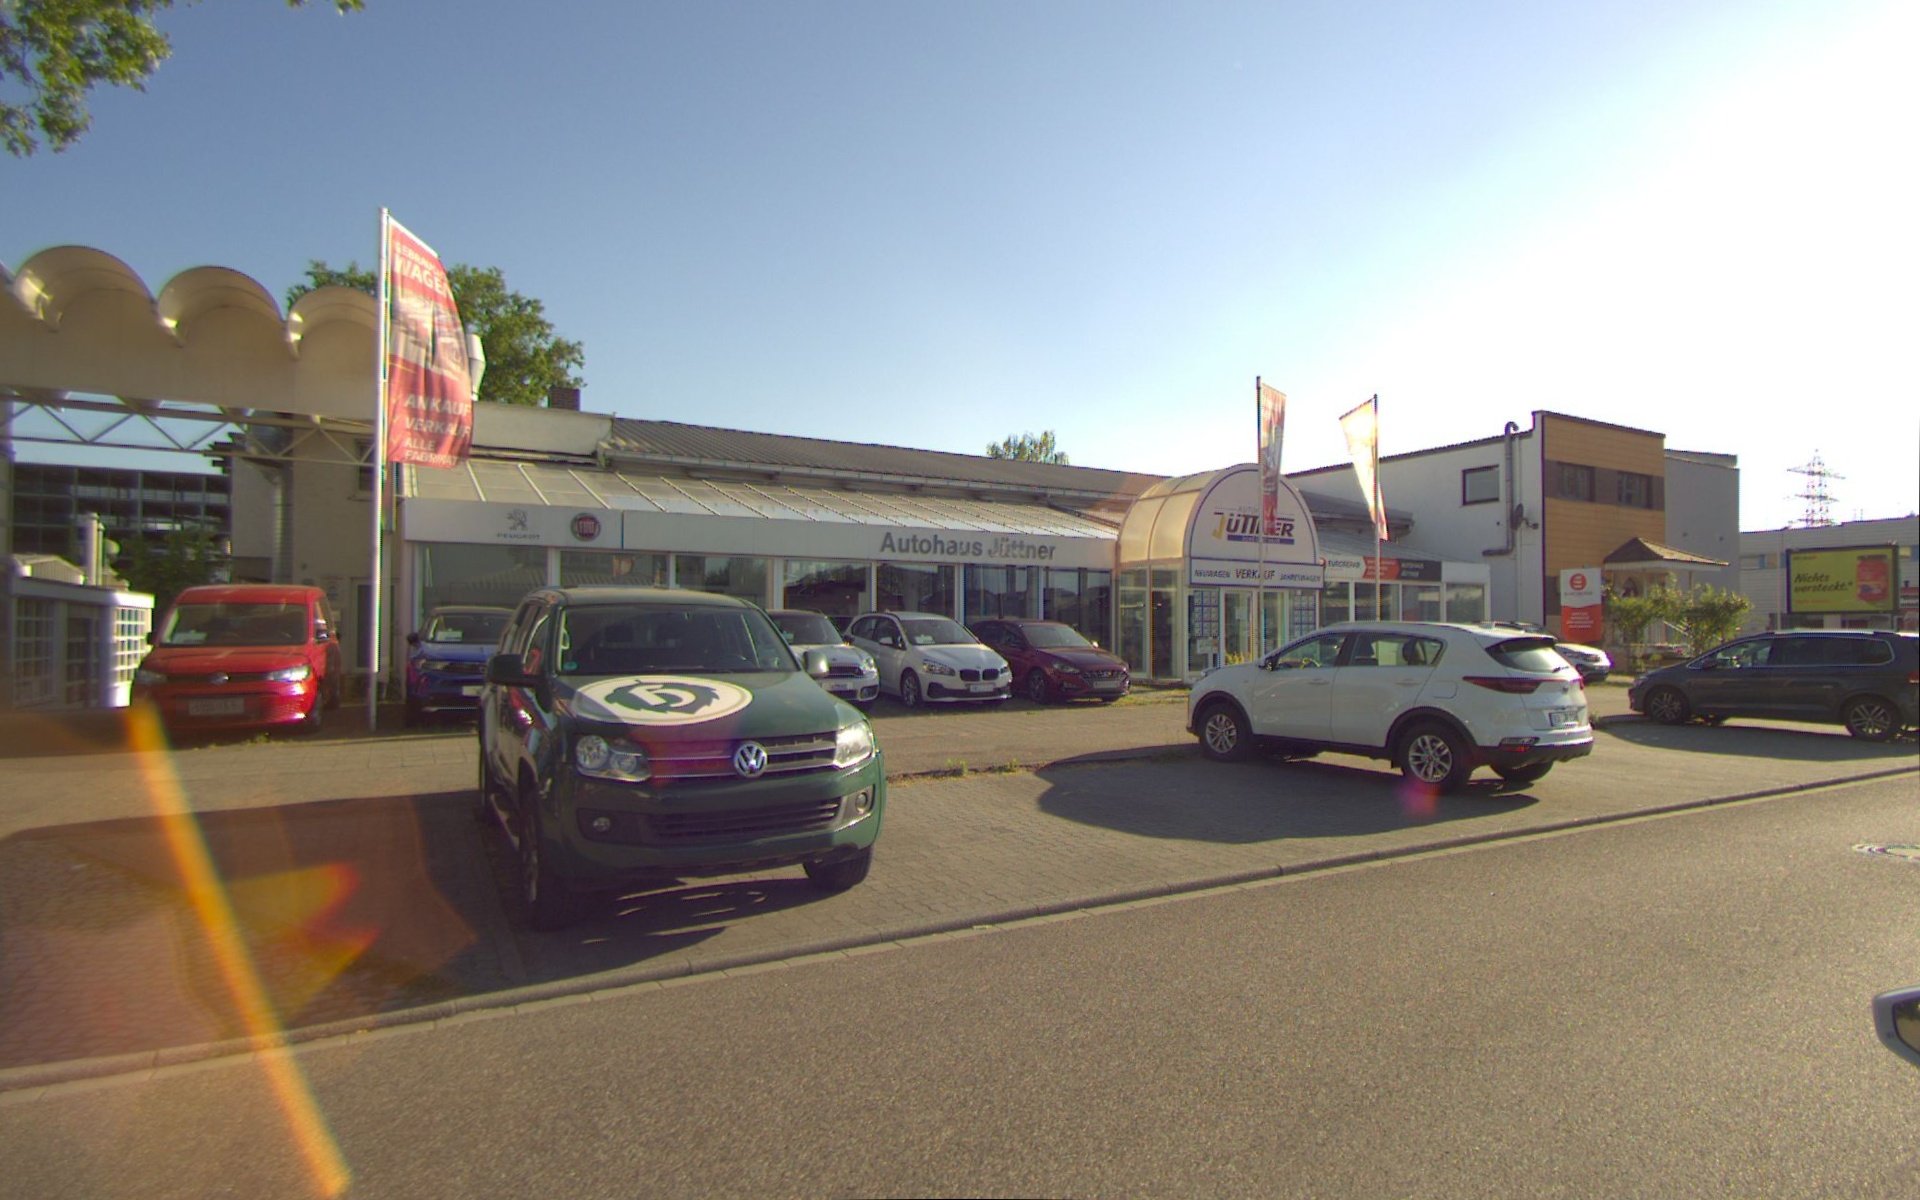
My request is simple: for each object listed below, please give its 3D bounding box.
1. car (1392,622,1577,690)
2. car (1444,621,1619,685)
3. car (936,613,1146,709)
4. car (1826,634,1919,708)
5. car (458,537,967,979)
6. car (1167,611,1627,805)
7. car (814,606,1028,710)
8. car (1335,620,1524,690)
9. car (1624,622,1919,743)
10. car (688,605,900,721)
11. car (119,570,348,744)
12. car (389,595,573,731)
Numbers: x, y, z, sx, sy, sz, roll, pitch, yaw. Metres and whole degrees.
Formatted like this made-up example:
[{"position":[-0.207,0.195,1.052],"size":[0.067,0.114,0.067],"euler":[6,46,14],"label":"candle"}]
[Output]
[{"position":[13.906,1.440,26.858],"size":[1.976,1.576,3.969],"euler":[2,-1,-29],"label":"car"},{"position":[15.979,1.443,28.271],"size":[1.865,1.576,3.893],"euler":[2,-1,-29],"label":"car"},{"position":[1.416,1.093,19.436],"size":[1.815,1.574,4.441],"euler":[2,-1,-31],"label":"car"},{"position":[20.993,1.514,20.749],"size":[2.178,1.479,4.289],"euler":[2,-1,-32],"label":"car"},{"position":[-2.210,0.724,7.210],"size":[2.176,1.923,5.235],"euler":[2,-1,-30],"label":"car"},{"position":[4.649,1.007,11.322],"size":[2.178,1.677,4.279],"euler":[2,-1,-32],"label":"car"},{"position":[-0.876,0.955,18.346],"size":[1.907,1.613,4.637],"euler":[2,-1,-31],"label":"car"},{"position":[11.855,1.342,25.599],"size":[1.976,1.576,3.969],"euler":[2,-1,-29],"label":"car"},{"position":[13.846,1.266,16.665],"size":[2.178,1.677,4.207],"euler":[2,-1,-32],"label":"car"},{"position":[-2.989,0.952,17.118],"size":[1.977,1.664,4.694],"euler":[2,-1,-31],"label":"car"},{"position":[-9.252,0.625,13.196],"size":[1.977,1.843,4.721],"euler":[2,-1,-31],"label":"car"},{"position":[-7.157,0.787,14.721],"size":[1.977,1.655,4.689],"euler":[2,-1,-31],"label":"car"}]
